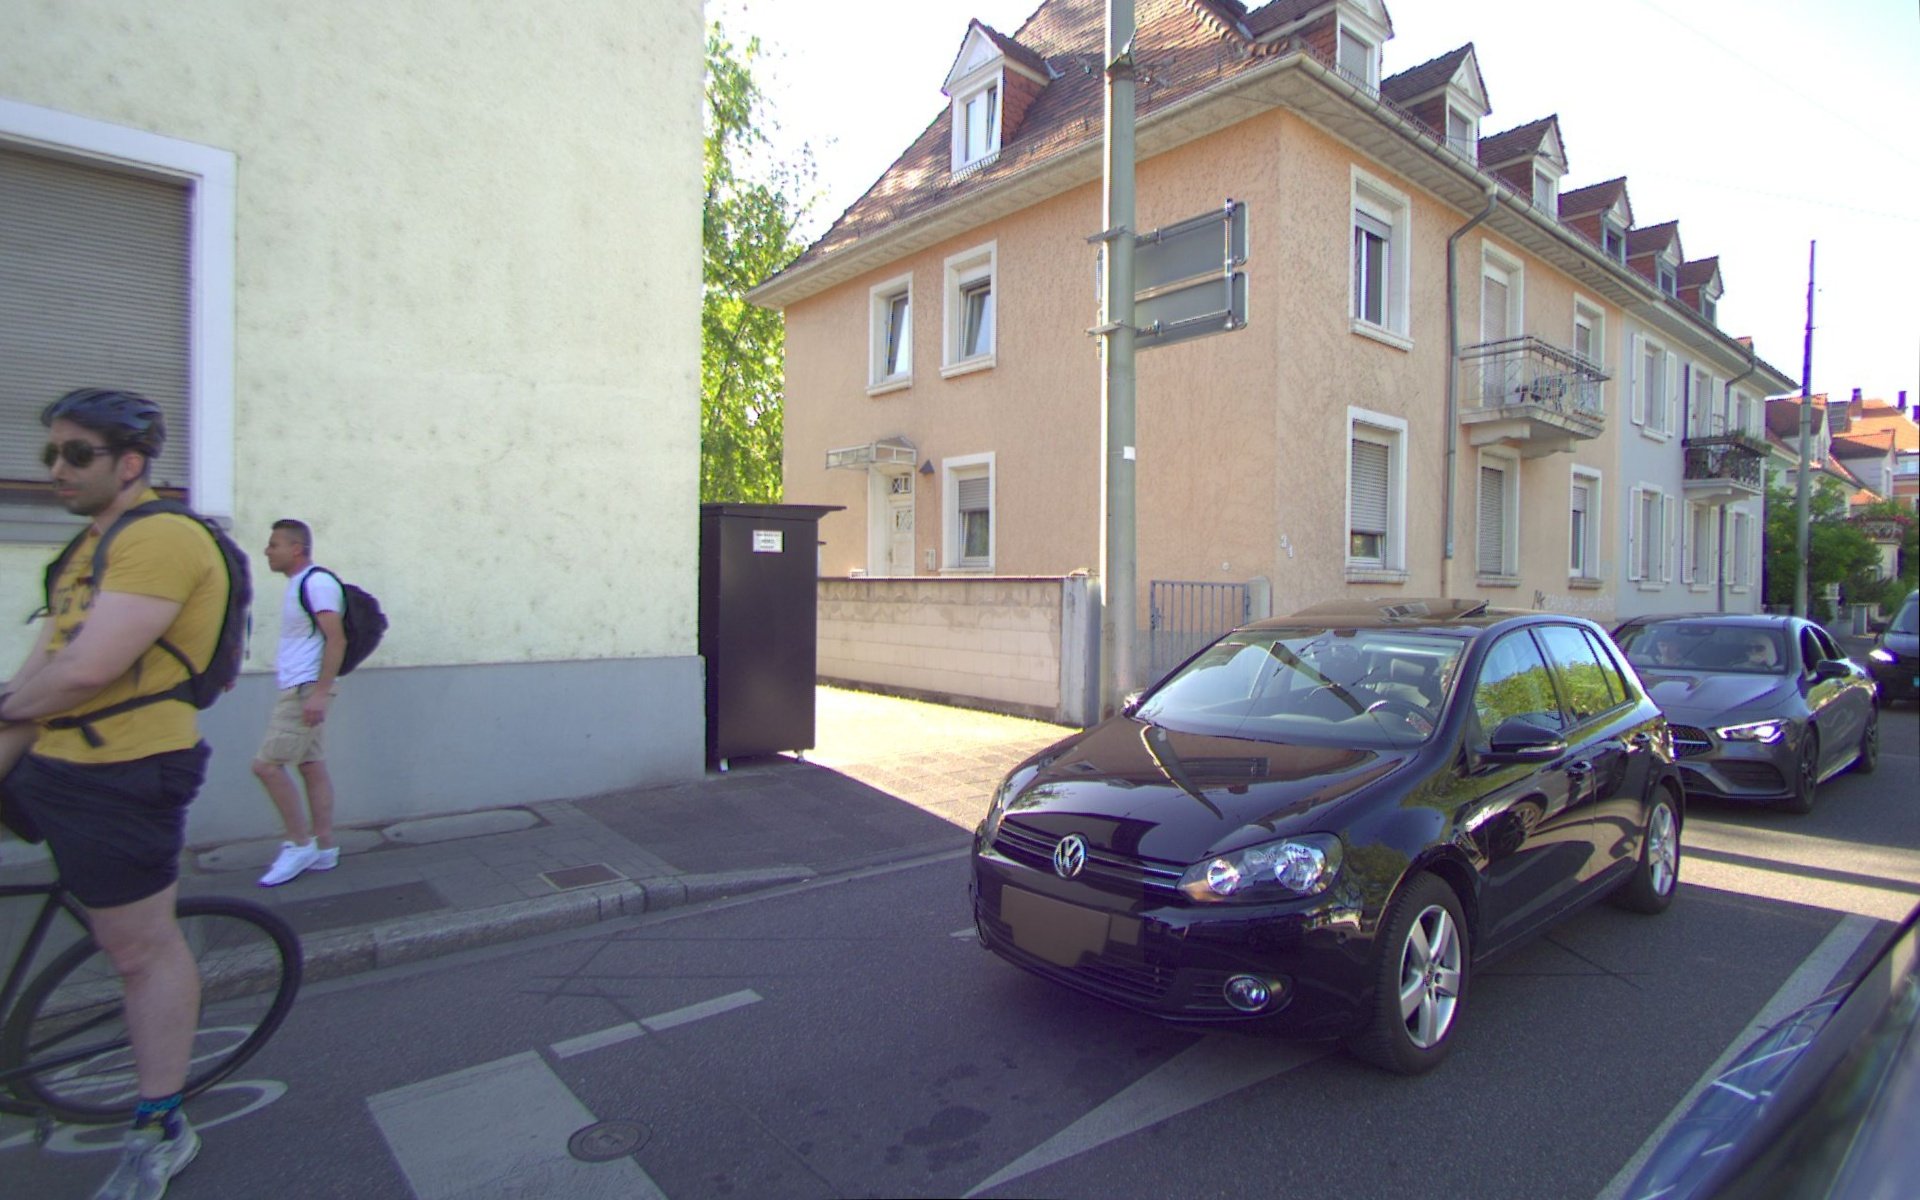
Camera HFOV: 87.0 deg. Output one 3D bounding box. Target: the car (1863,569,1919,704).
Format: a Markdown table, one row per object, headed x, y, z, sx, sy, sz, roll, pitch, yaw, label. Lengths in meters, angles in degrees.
| x | y | z | sx | sy | sz | roll | pitch | yaw | label |
| --- | --- | --- | --- | --- | --- | --- | --- | --- | --- |
| 15.045 | 0.473 | 15.027 | 4.695 | 1.827 | 1.864 | -1 | 0 | -41 | car |

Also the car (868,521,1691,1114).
| x | y | z | sx | sy | sz | roll | pitch | yaw | label |
| --- | --- | --- | --- | --- | --- | --- | --- | --- | --- |
| 1.714 | 0.605 | 4.586 | 3.979 | 1.527 | 1.731 | 2 | -1 | -41 | car |

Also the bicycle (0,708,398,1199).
| x | y | z | sx | sy | sz | roll | pitch | yaw | label |
| --- | --- | --- | --- | --- | --- | --- | --- | --- | --- |
| -2.380 | 0.879 | 2.382 | 1.749 | 1.044 | 0.756 | -1 | 0 | -40 | bicycle |

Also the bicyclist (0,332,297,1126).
| x | y | z | sx | sy | sz | roll | pitch | yaw | label |
| --- | --- | --- | --- | --- | --- | --- | --- | --- | --- |
| -2.222 | 0.270 | 2.520 | 0.868 | 1.684 | 0.807 | 0 | 0 | -40 | bicyclist |

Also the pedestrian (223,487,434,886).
| x | y | z | sx | sy | sz | roll | pitch | yaw | label |
| --- | --- | --- | --- | --- | --- | --- | --- | --- | --- |
| -3.038 | 0.373 | 4.903 | 0.577 | 1.776 | 0.641 | 4 | 4 | 11 | pedestrian |

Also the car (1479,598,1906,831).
| x | y | z | sx | sy | sz | roll | pitch | yaw | label |
| --- | --- | --- | --- | --- | --- | --- | --- | --- | --- |
| 6.358 | 0.721 | 8.591 | 4.413 | 1.437 | 1.911 | -1 | 1 | -40 | car |
